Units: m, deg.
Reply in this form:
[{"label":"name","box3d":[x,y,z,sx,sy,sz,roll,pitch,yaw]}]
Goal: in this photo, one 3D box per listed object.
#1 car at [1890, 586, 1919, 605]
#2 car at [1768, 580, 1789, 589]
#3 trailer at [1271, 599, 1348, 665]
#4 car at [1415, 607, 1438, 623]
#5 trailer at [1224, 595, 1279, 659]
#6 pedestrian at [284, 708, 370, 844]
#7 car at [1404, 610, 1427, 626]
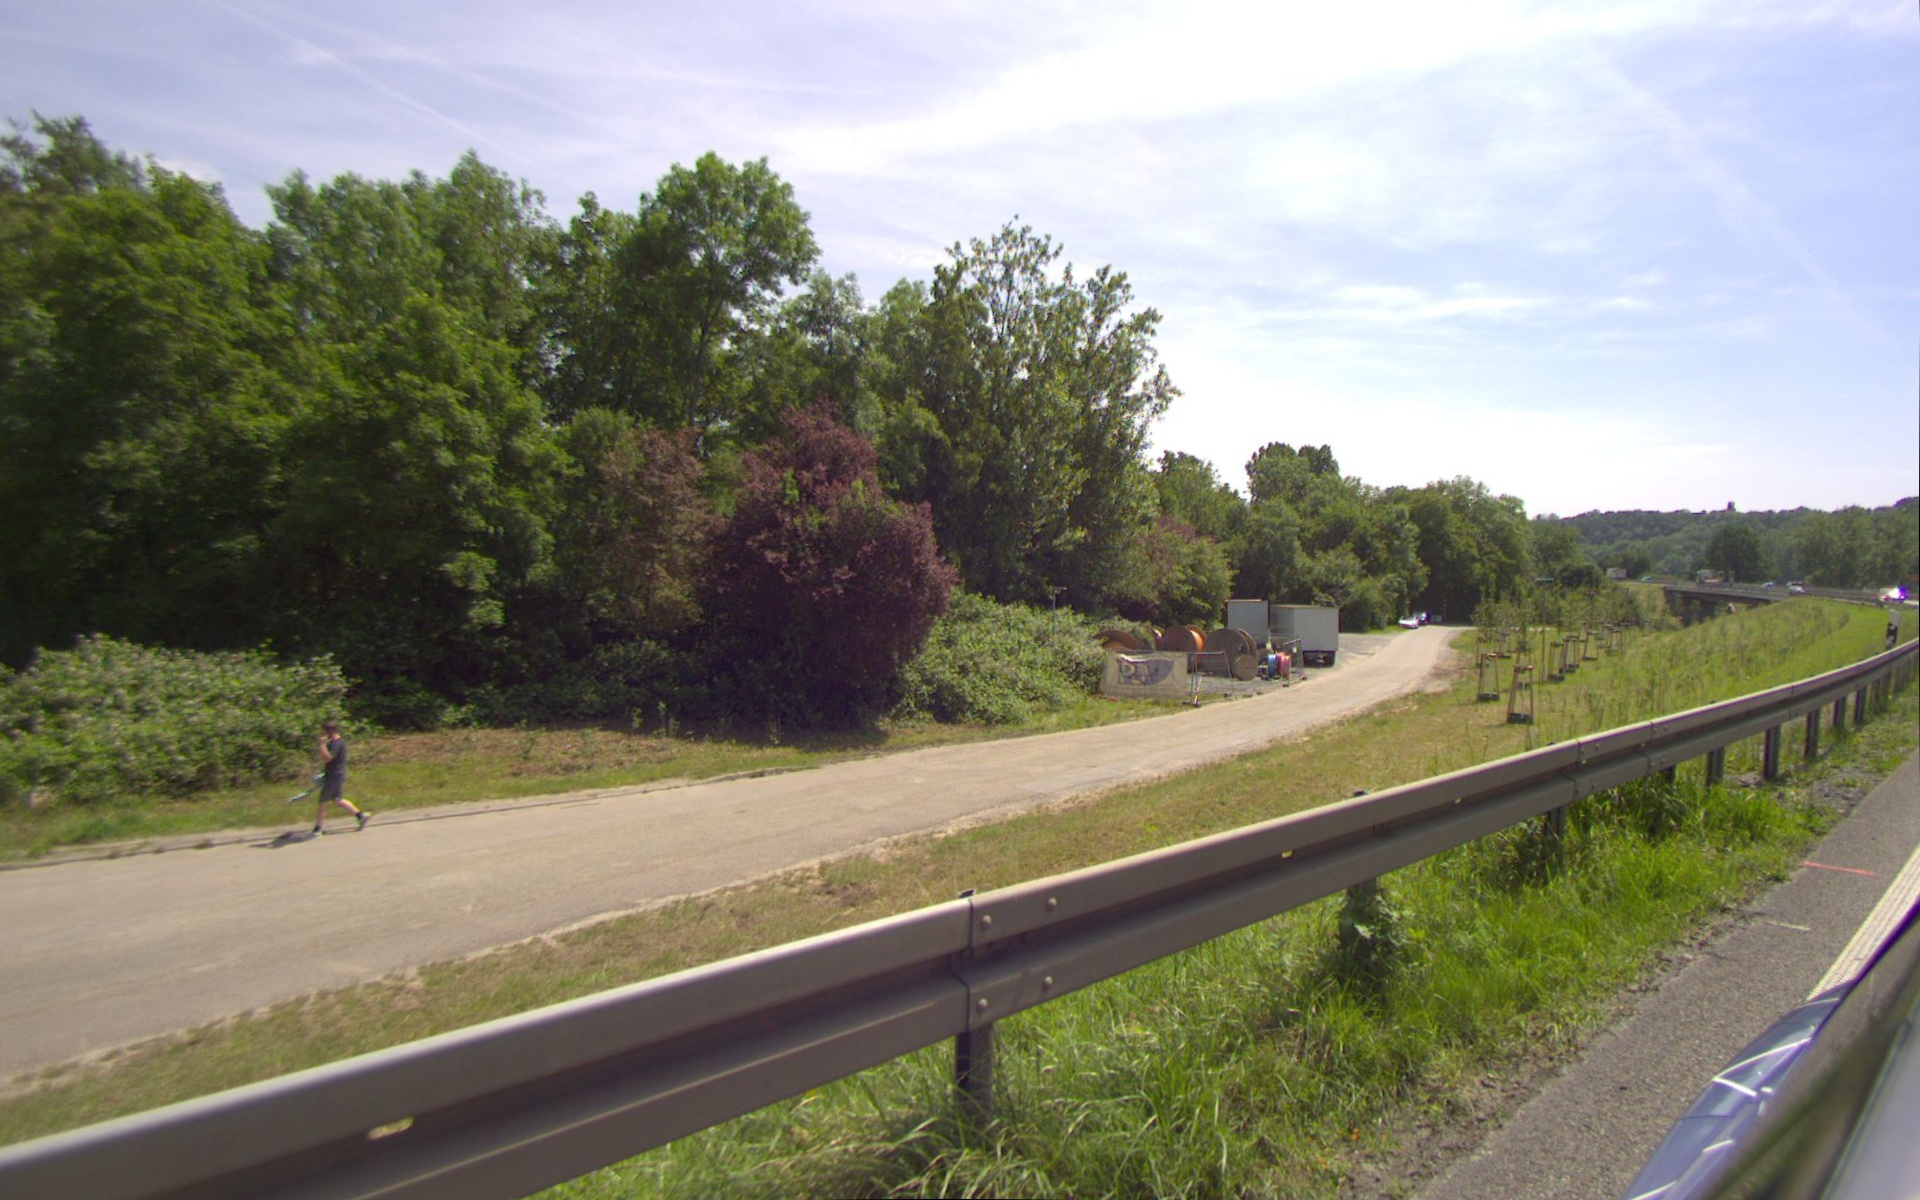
[{"label":"car","box3d":[94.038,-0.460,100.664,1.972,1.753,3.946,1,3,38]},{"label":"car","box3d":[148.351,-2.788,183.484,1.753,1.512,4.140,0,2,22]},{"label":"trailer","box3d":[20.880,1.737,61.110,2.684,3.369,11.858,0,1,11]},{"label":"car","box3d":[56.957,1.835,123.506,1.851,1.702,4.150,5,3,32]},{"label":"trailer","box3d":[18.700,1.565,65.390,2.686,3.651,11.850,0,1,13]},{"label":"pedestrian","box3d":[-9.752,2.670,15.583,0.943,1.833,0.886,1,3,-43]},{"label":"car","box3d":[51.276,2.054,113.886,1.849,1.500,4.559,5,3,30]}]
